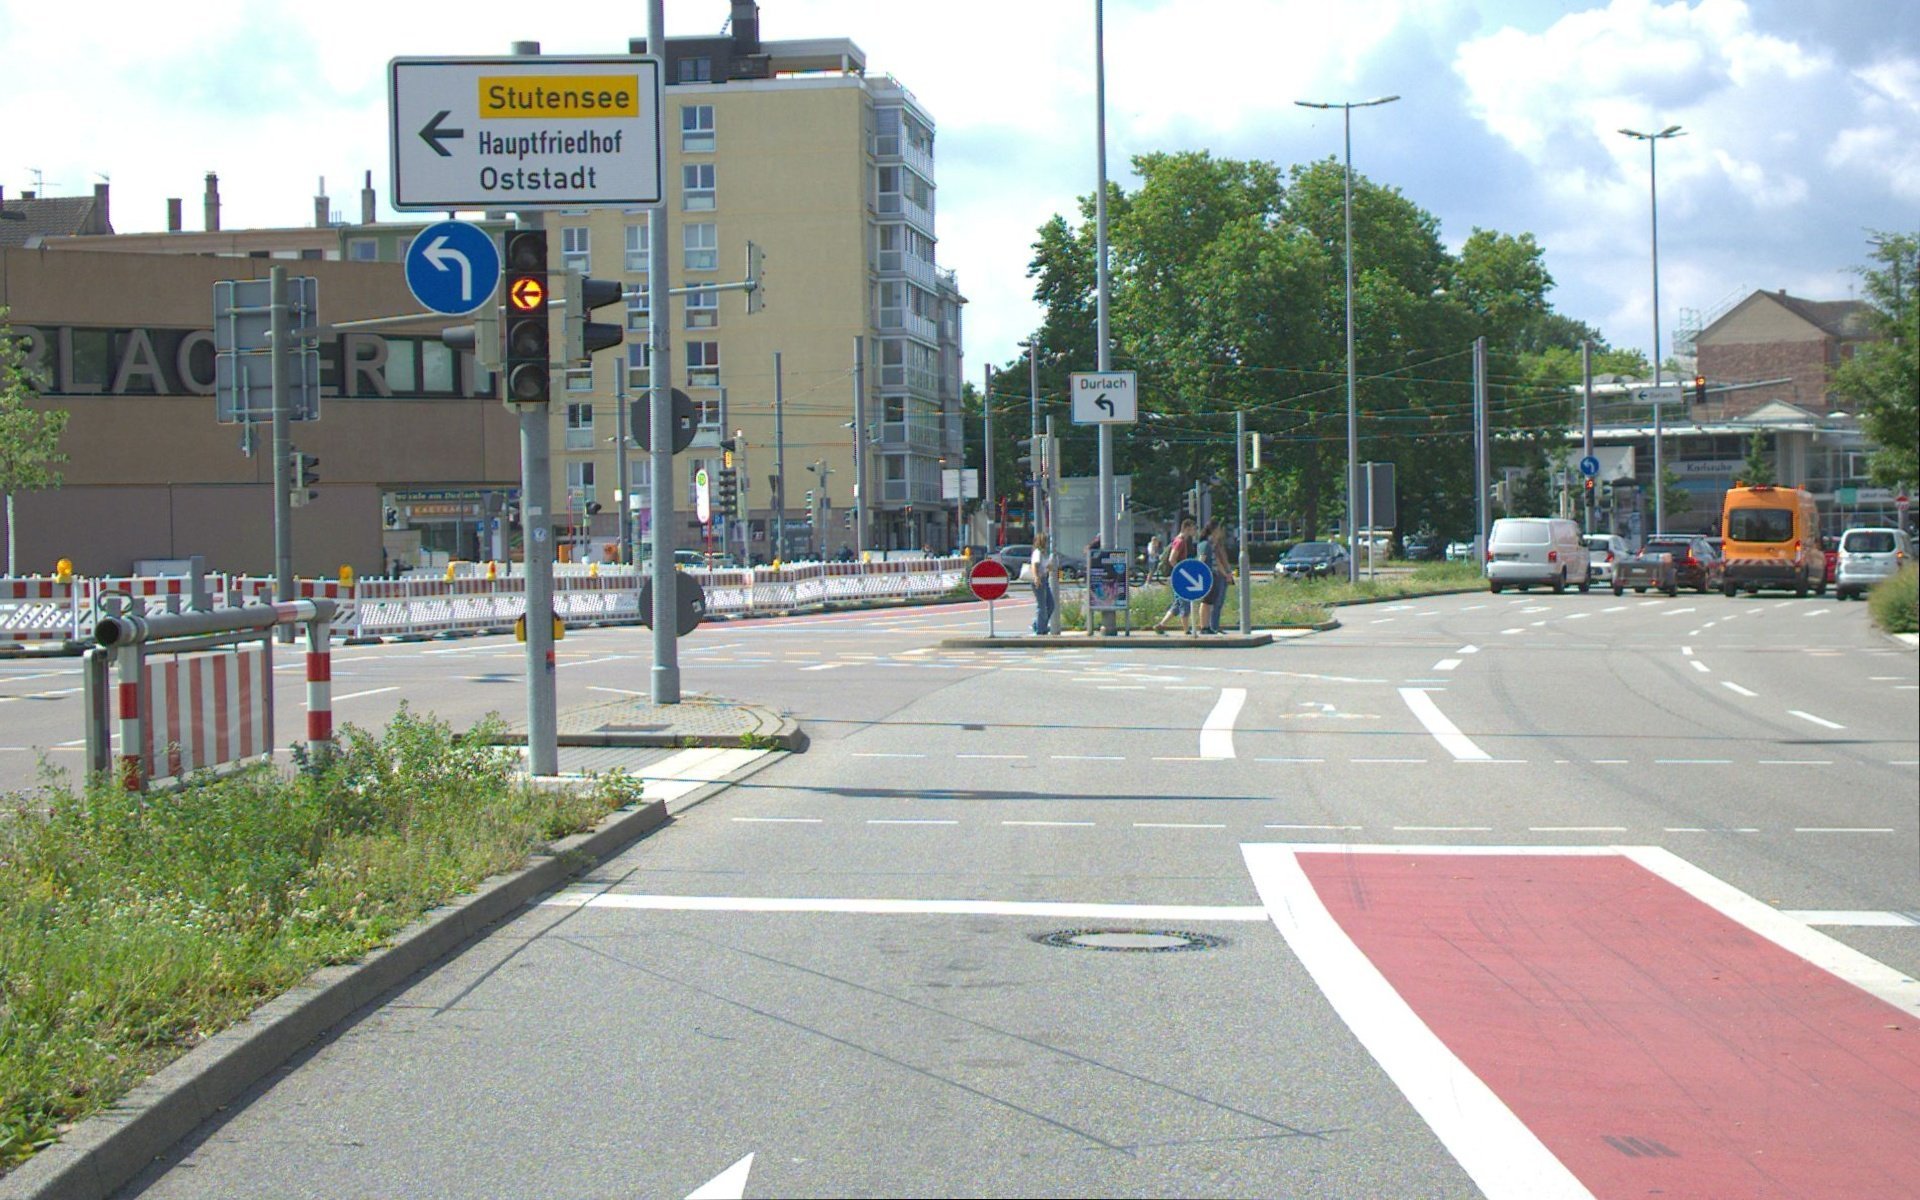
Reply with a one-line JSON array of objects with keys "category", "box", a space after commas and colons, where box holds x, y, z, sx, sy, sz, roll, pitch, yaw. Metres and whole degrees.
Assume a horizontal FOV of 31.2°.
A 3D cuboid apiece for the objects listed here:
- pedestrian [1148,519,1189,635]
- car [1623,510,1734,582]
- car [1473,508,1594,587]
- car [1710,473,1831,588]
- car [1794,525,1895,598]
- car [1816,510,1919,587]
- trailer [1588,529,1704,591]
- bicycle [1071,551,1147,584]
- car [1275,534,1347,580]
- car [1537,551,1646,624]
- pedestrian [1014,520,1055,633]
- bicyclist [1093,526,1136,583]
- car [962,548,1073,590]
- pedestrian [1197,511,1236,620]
[{"category": "pedestrian", "box": [3.119, -0.348, 51.399, 0.525, 1.727, 0.623, -1, 1, 9]}, {"category": "car", "box": [18.907, -1.433, 90.357, 1.996, 1.820, 3.995, -1, 1, 25]}, {"category": "car", "box": [14.978, -1.374, 89.610, 2.008, 1.960, 4.633, -1, 1, 23]}, {"category": "car", "box": [20.482, -1.753, 86.732, 2.132, 2.771, 4.633, -1, 1, 23]}, {"category": "car", "box": [24.584, -1.086, 95.459, 1.994, 1.932, 4.633, -1, 1, 23]}, {"category": "car", "box": [22.187, -1.260, 83.441, 1.996, 1.789, 3.995, -1, 1, 25]}, {"category": "trailer", "box": [17.414, -1.034, 87.132, 1.996, 1.472, 3.995, -1, 1, 25]}, {"category": "bicycle", "box": [4.984, -1.100, 115.141, 2.381, 1.063, 0.857, -1, 1, 20]}, {"category": "car", "box": [11.042, -1.362, 107.859, 1.793, 1.383, 4.225, 0, 1, 12]}, {"category": "car", "box": [17.892, -0.383, 97.279, 1.994, 1.932, 4.633, -1, 1, 23]}, {"category": "pedestrian", "box": [1.146, -0.367, 53.009, 0.525, 1.727, 0.623, -1, 1, 9]}, {"category": "bicyclist", "box": [5.182, -1.523, 115.059, 1.220, 1.903, 0.857, -1, 1, 20]}, {"category": "car", "box": [2.264, -1.213, 134.581, 4.050, 1.475, 1.666, 2, 1, 11]}, {"category": "pedestrian", "box": [3.991, -0.546, 53.459, 0.525, 1.678, 0.623, -1, 1, 9]}]
